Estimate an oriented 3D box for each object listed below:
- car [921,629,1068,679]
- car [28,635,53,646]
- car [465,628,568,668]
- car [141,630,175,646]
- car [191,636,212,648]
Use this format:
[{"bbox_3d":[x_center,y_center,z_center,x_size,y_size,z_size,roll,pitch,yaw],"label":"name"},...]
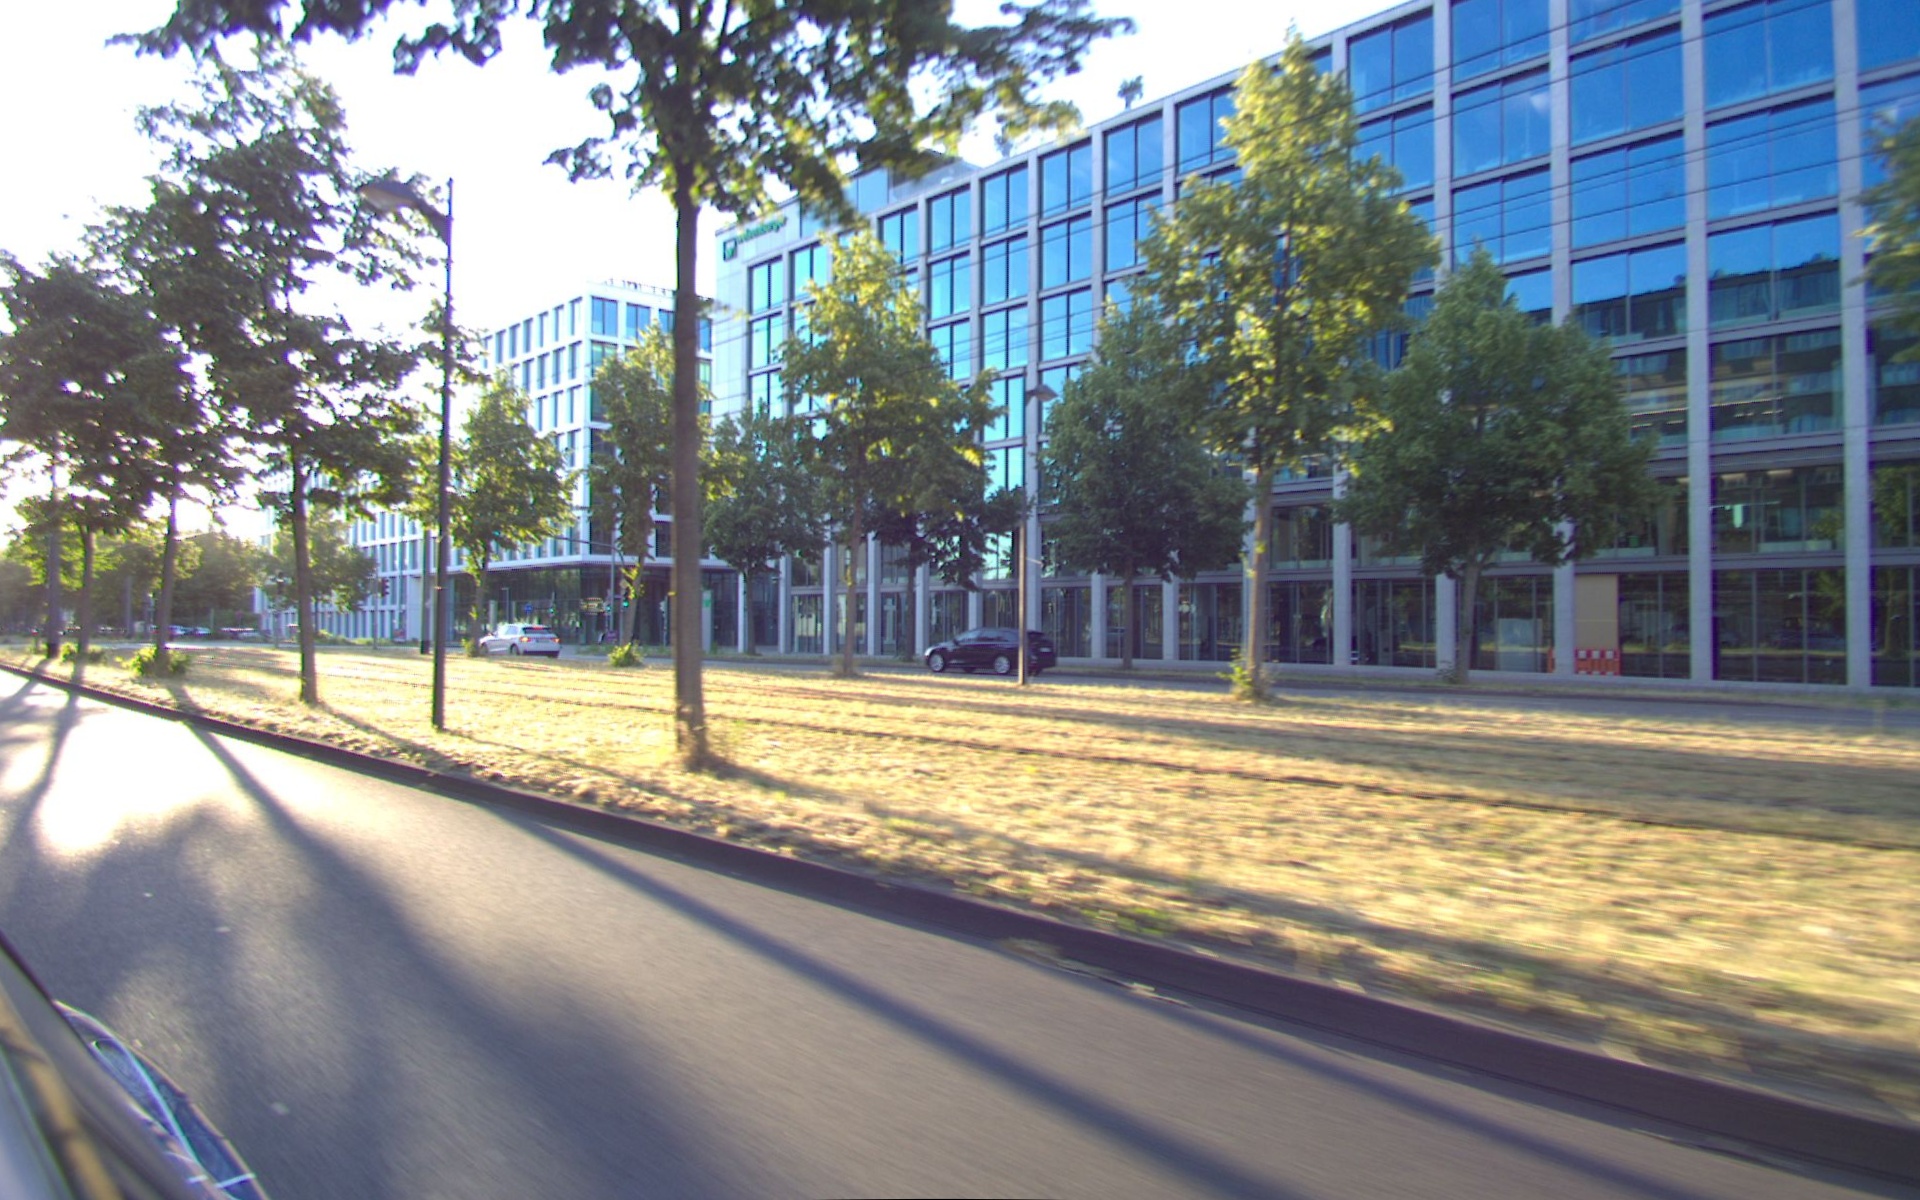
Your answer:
[{"bbox_3d":[1.035,1.627,31.542,4.386,1.433,1.910,-1,-2,41],"label":"car"},{"bbox_3d":[-124.985,5.429,137.555,4.895,1.445,1.973,-1,-2,40],"label":"car"},{"bbox_3d":[-17.703,1.865,40.331,4.626,1.497,1.883,-1,-2,40],"label":"car"},{"bbox_3d":[-75.345,3.611,95.053,3.996,1.460,1.624,-2,-2,39],"label":"car"},{"bbox_3d":[-109.476,6.073,146.039,1.969,1.604,4.339,1,-3,-43],"label":"car"}]
